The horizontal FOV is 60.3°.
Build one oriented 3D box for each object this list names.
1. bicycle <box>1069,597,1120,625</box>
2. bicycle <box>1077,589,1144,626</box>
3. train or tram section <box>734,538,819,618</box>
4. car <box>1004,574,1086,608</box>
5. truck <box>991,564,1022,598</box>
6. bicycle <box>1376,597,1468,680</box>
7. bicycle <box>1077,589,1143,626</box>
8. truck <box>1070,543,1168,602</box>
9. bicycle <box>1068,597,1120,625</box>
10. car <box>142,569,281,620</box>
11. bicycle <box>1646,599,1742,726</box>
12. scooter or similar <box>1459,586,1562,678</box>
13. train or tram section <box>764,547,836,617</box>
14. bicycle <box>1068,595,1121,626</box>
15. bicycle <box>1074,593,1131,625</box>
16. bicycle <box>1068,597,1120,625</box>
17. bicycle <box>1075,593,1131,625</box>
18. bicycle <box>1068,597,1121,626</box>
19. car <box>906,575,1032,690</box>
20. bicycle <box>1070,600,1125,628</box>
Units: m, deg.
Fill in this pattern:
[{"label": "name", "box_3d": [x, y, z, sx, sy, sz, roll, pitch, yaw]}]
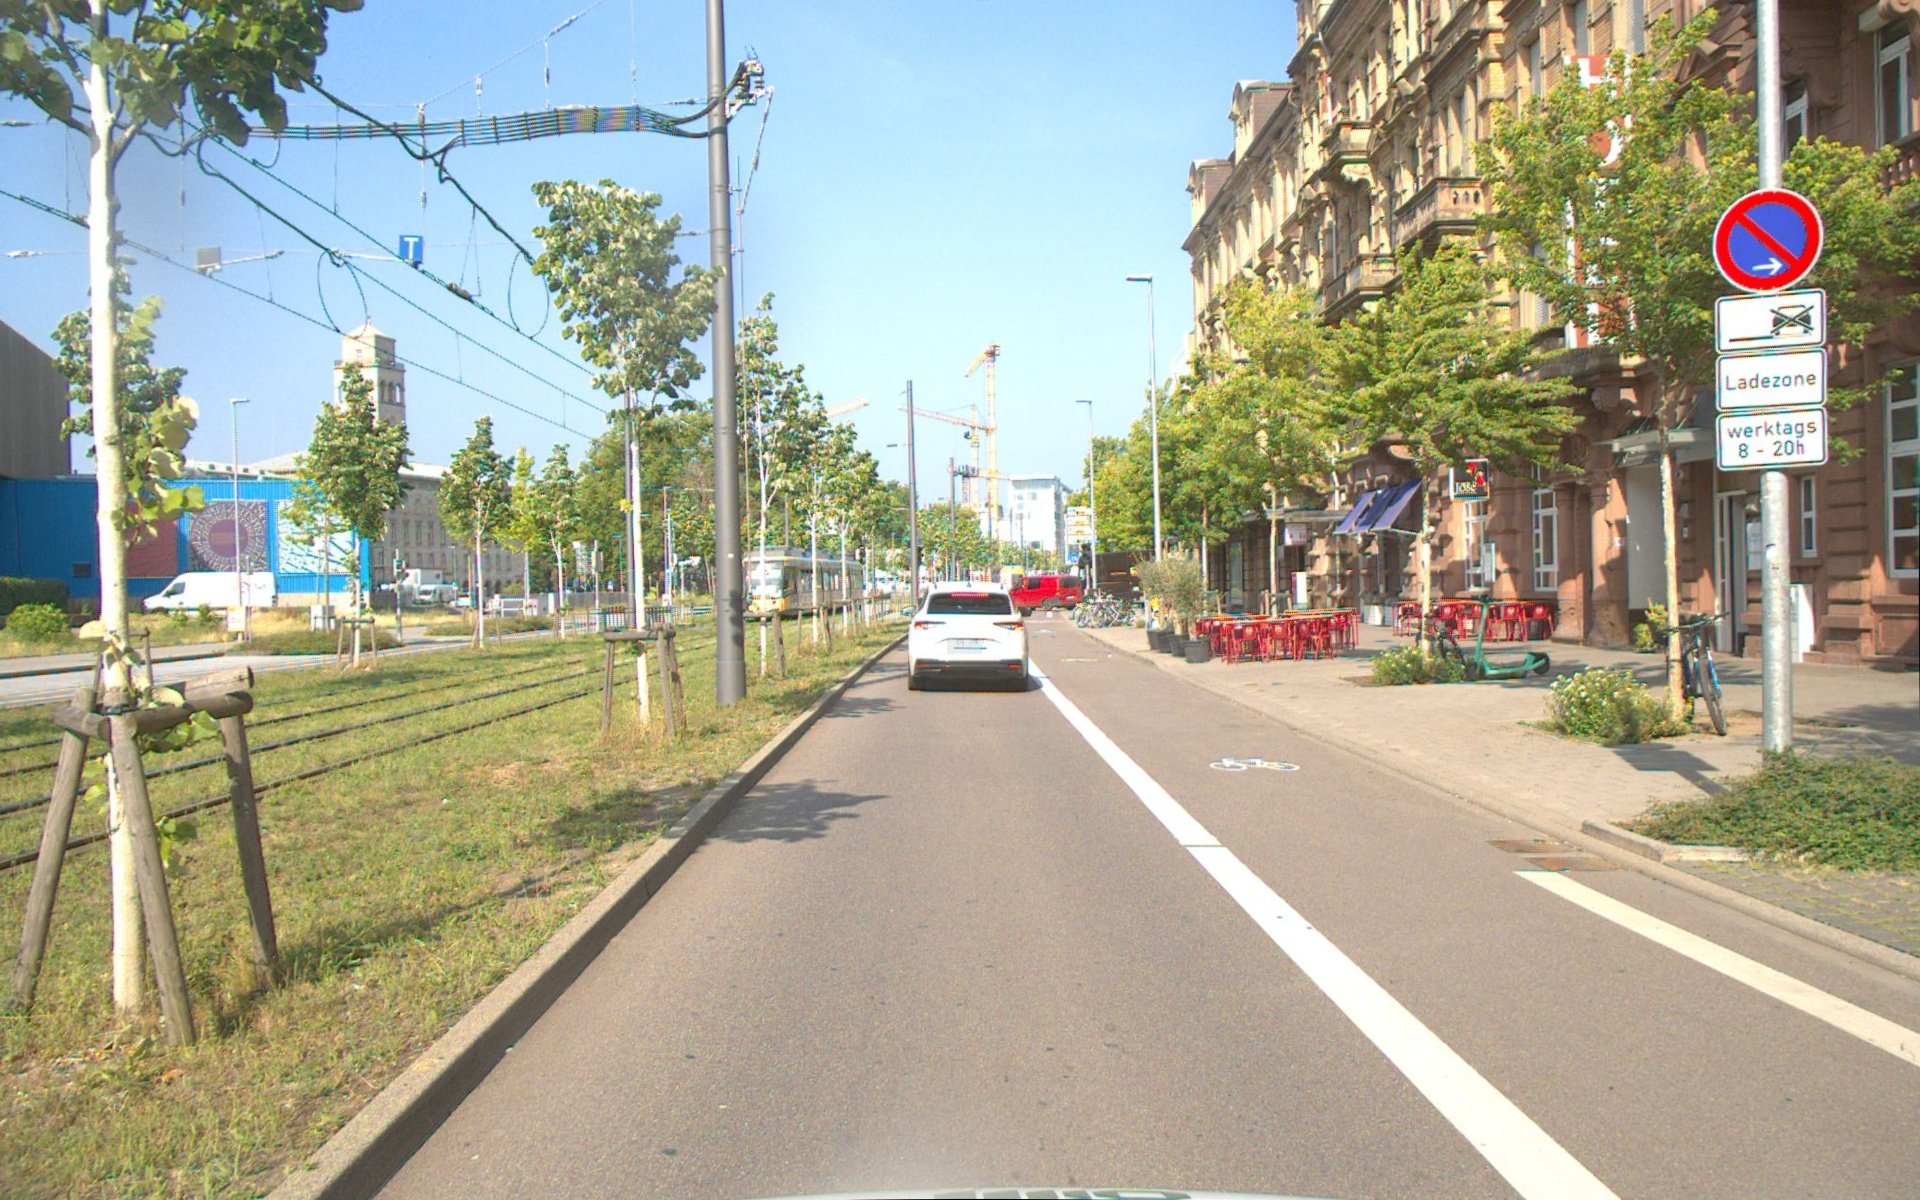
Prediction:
[{"label": "bicycle", "box_3d": [5.118, 0.422, 63.165, 1.894, 0.962, 0.429, -3, 0, 4]}, {"label": "bicycle", "box_3d": [5.158, 0.257, 56.685, 2.193, 1.123, 0.588, -3, 0, 1]}, {"label": "train or tram section", "box_3d": [-9.074, -1.009, 83.044, 2.839, 3.649, 12.476, -2, 0, 0]}, {"label": "car", "box_3d": [4.509, -0.476, 88.585, 1.982, 1.713, 4.304, -1, 0, -40]}, {"label": "truck", "box_3d": [3.331, -1.335, 118.816, 2.167, 2.358, 5.891, -1, 0, 1]}, {"label": "bicycle", "box_3d": [6.681, 0.532, 24.035, 0.584, 1.142, 1.923, -1, 0, -7]}, {"label": "bicycle", "box_3d": [5.179, 0.259, 57.240, 2.193, 1.123, 0.519, -3, 0, 1]}, {"label": "truck", "box_3d": [8.690, -1.478, 91.165, 2.475, 3.064, 6.913, -1, 0, -22]}, {"label": "bicycle", "box_3d": [5.076, 0.420, 62.722, 1.894, 0.962, 0.429, -3, 0, 4]}, {"label": "car", "box_3d": [-41.282, -0.285, 91.455, 6.778, 2.685, 2.498, 1, 0, -22]}, {"label": "bicycle", "box_3d": [6.957, 0.562, 15.733, 0.494, 1.078, 1.715, -3, 1, 14]}, {"label": "scooter or similar", "box_3d": [7.553, 0.433, 22.716, 1.230, 1.177, 0.340, -4, 0, 3]}, {"label": "train or tram section", "box_3d": [-9.117, -0.961, 95.683, 2.839, 3.649, 12.932, -2, 0, 0]}, {"label": "bicycle", "box_3d": [4.994, 0.374, 61.413, 1.894, 1.030, 0.441, -3, 0, 4]}, {"label": "bicycle", "box_3d": [5.032, 0.317, 58.468, 1.915, 1.003, 0.471, -3, 0, 1]}, {"label": "bicycle", "box_3d": [5.050, 0.418, 62.338, 1.894, 0.962, 0.441, -3, 0, 4]}, {"label": "bicycle", "box_3d": [5.010, 0.315, 57.988, 1.895, 1.003, 0.471, -3, 0, 1]}, {"label": "bicycle", "box_3d": [5.022, 0.415, 61.859, 1.894, 0.962, 0.441, -3, 0, 4]}, {"label": "car", "box_3d": [0.107, 0.454, 25.820, 1.780, 1.617, 4.406, 0, 0, -1]}, {"label": "bicycle", "box_3d": [4.964, 0.504, 59.759, 1.895, 0.889, 0.441, -3, 0, 1]}]
